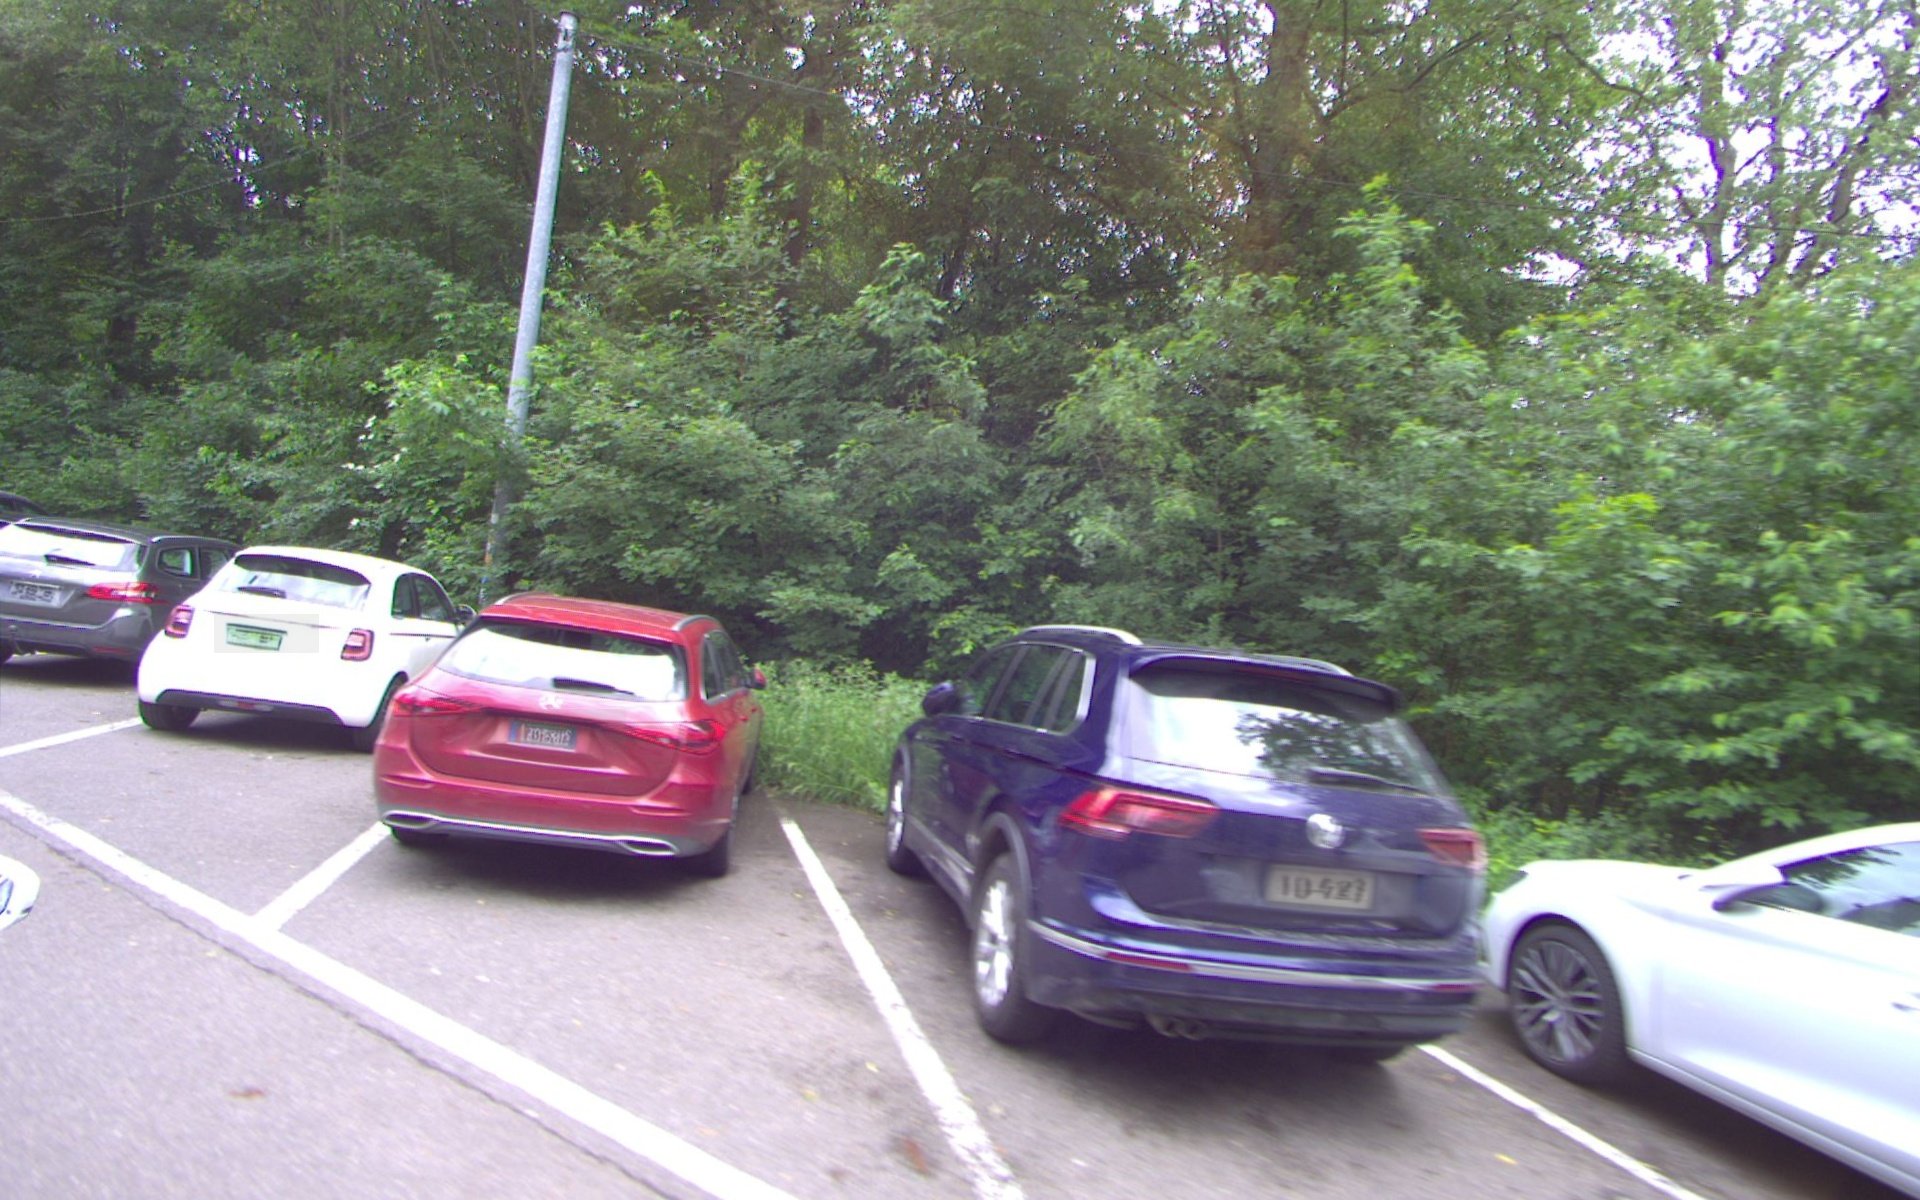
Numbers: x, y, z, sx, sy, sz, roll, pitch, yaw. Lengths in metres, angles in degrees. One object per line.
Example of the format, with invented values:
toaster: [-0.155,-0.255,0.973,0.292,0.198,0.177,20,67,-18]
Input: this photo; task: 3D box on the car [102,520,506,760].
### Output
car: [-5.509,0.328,9.047,1.707,1.522,3.576,8,-2,-12]

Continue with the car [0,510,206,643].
car: [-11.744,-0.364,12.777,1.936,1.393,4.250,8,-2,-16]

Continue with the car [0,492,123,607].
car: [-15.046,-0.862,15.128,1.935,1.655,4.253,8,-2,-14]

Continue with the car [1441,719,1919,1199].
car: [3.833,1.431,3.308,1.839,1.454,4.114,8,-2,-11]

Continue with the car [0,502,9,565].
car: [-17.798,-1.154,16.014,1.805,1.484,3.994,8,-2,-10]

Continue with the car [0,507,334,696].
car: [-8.469,-0.009,10.635,1.777,1.474,4.177,8,-2,-14]

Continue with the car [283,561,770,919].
car: [-2.350,0.714,6.748,1.896,1.429,4.291,8,-2,-10]

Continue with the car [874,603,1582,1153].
car: [0.770,0.987,5.295,1.812,1.636,4.114,8,-2,-11]
